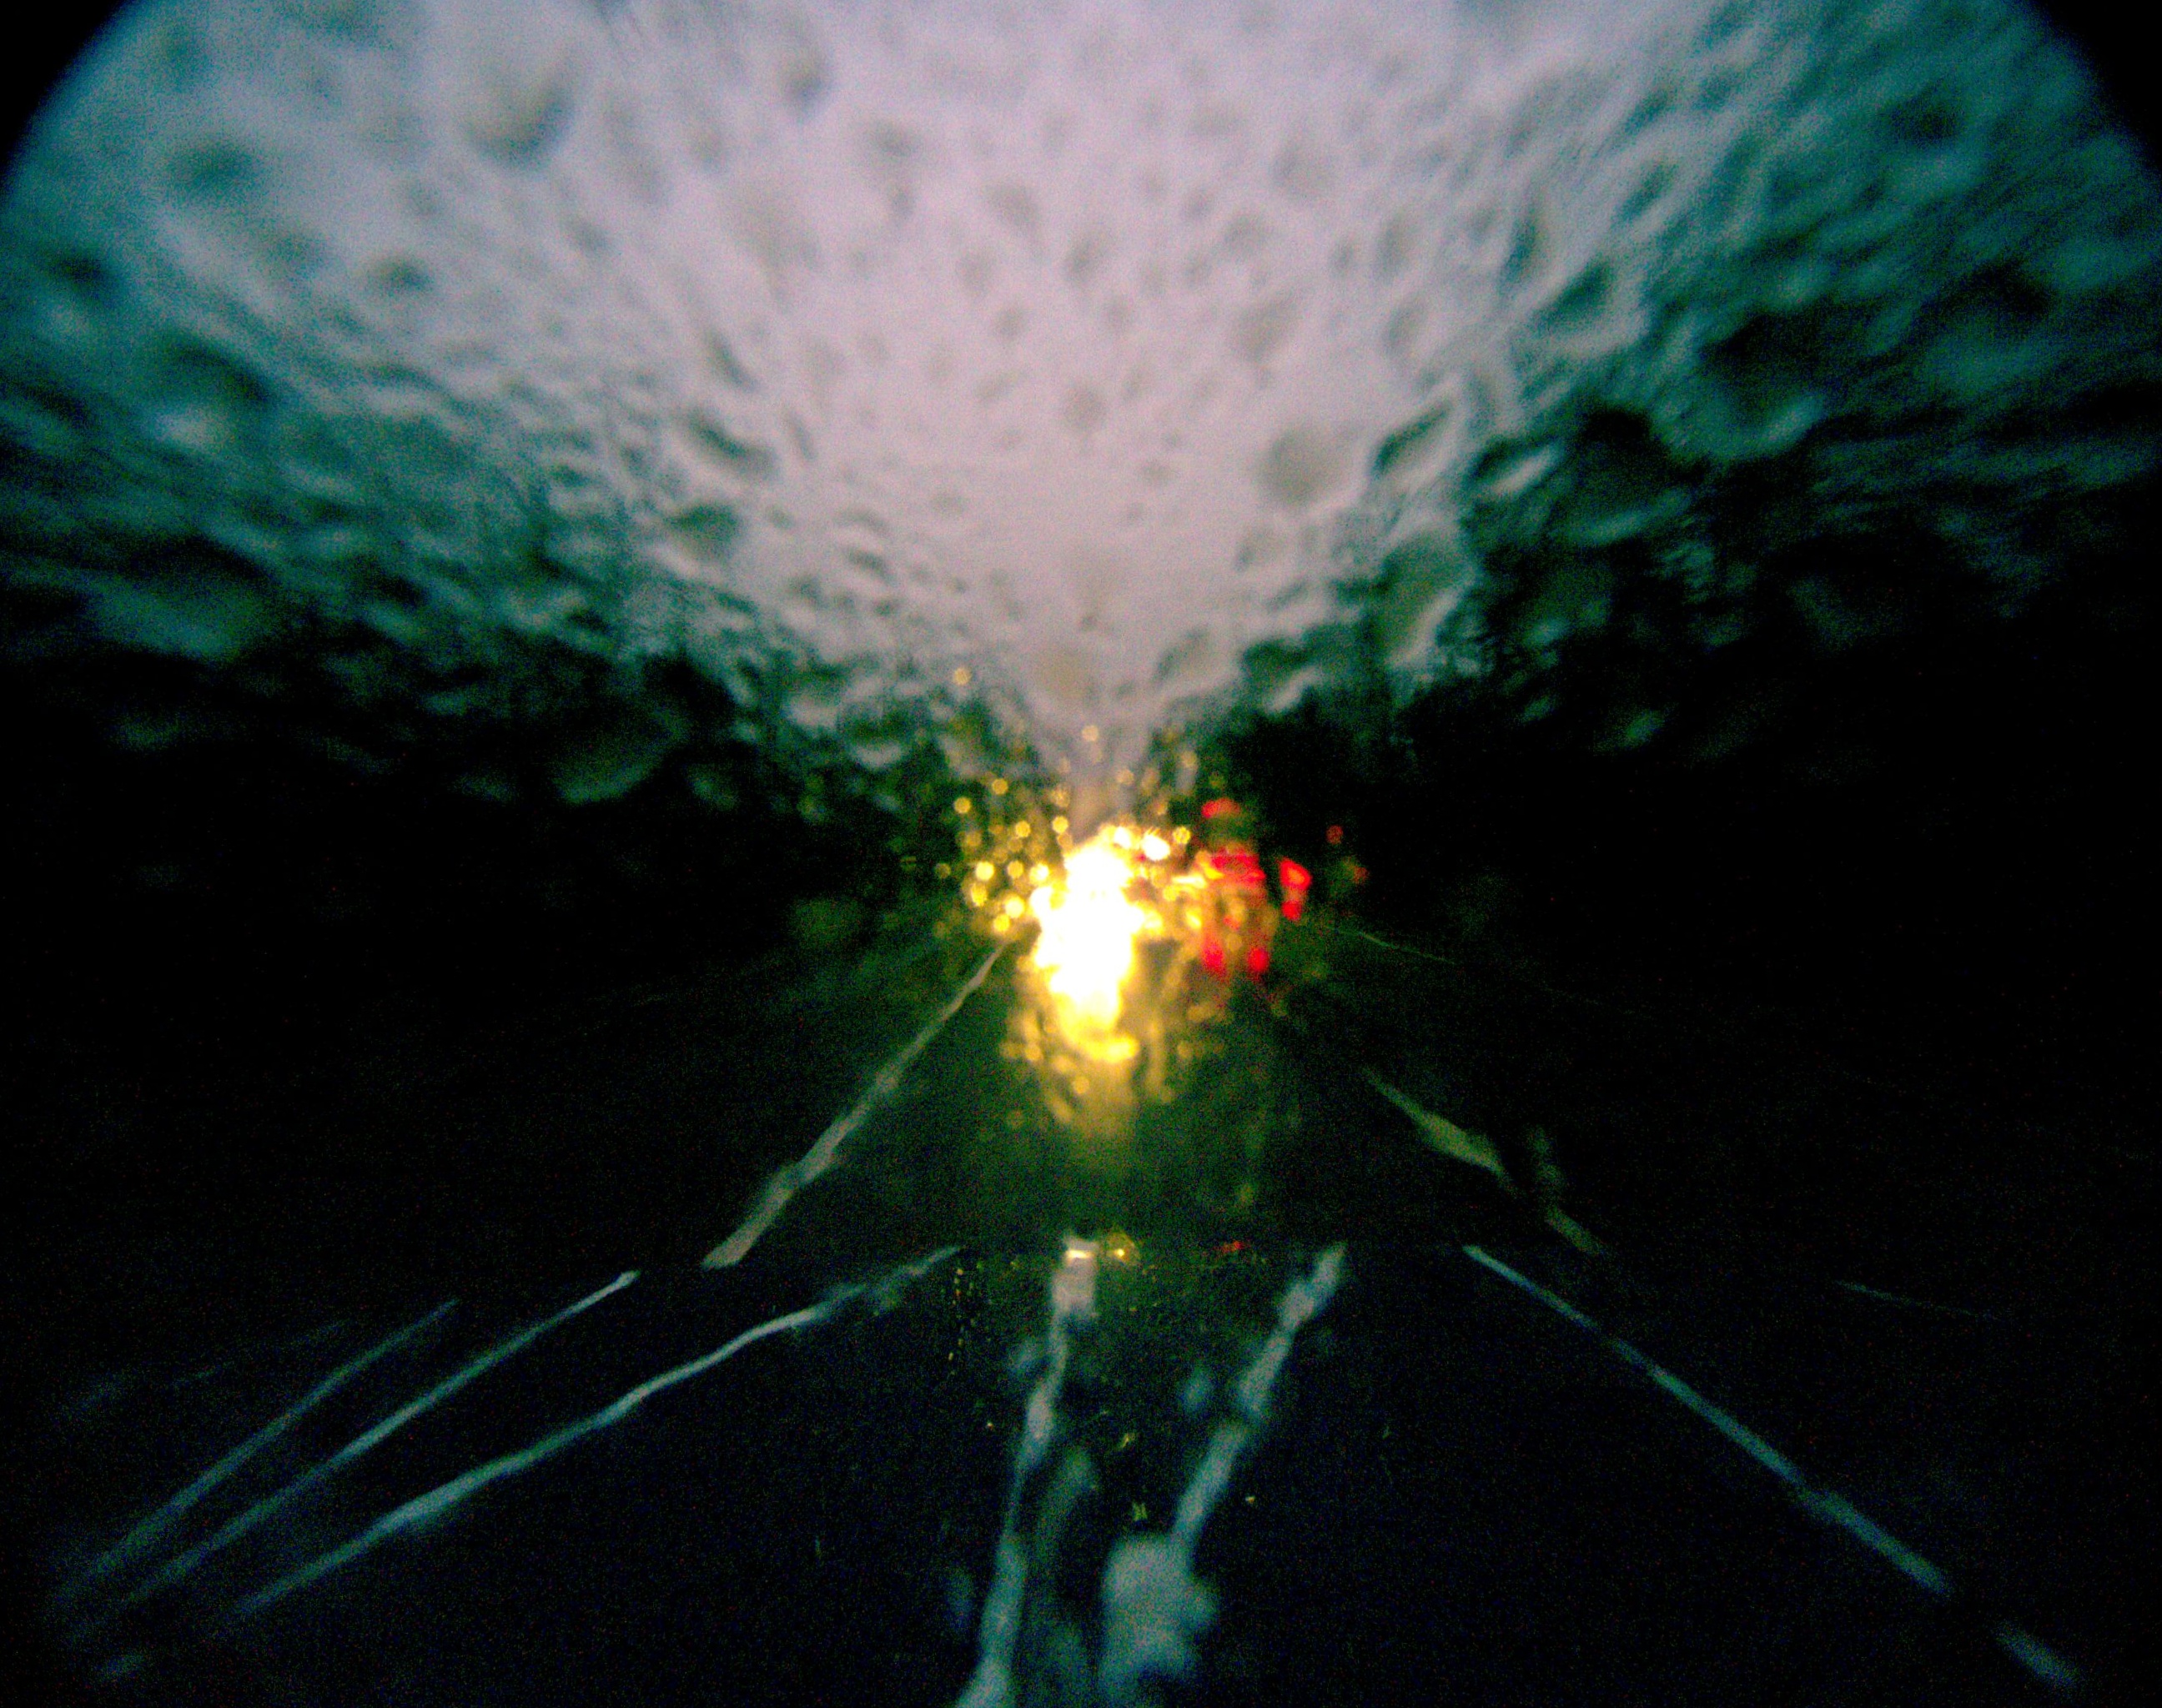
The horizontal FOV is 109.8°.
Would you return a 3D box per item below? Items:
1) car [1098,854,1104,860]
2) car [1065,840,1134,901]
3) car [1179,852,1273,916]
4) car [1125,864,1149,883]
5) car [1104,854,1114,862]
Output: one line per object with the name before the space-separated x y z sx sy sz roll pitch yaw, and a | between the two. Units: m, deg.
car | 5.734 0.991 218.687 1.826 1.639 4.750 1 -1 1
car | 0.787 0.594 31.819 2.542 2.213 6.169 -2 0 2
car | 4.109 0.772 22.346 1.922 1.599 5.016 -1 1 2
car | 4.377 1.519 59.903 1.695 1.411 4.000 -1 0 1
car | 5.684 0.794 155.906 1.979 1.559 4.928 0 0 3
